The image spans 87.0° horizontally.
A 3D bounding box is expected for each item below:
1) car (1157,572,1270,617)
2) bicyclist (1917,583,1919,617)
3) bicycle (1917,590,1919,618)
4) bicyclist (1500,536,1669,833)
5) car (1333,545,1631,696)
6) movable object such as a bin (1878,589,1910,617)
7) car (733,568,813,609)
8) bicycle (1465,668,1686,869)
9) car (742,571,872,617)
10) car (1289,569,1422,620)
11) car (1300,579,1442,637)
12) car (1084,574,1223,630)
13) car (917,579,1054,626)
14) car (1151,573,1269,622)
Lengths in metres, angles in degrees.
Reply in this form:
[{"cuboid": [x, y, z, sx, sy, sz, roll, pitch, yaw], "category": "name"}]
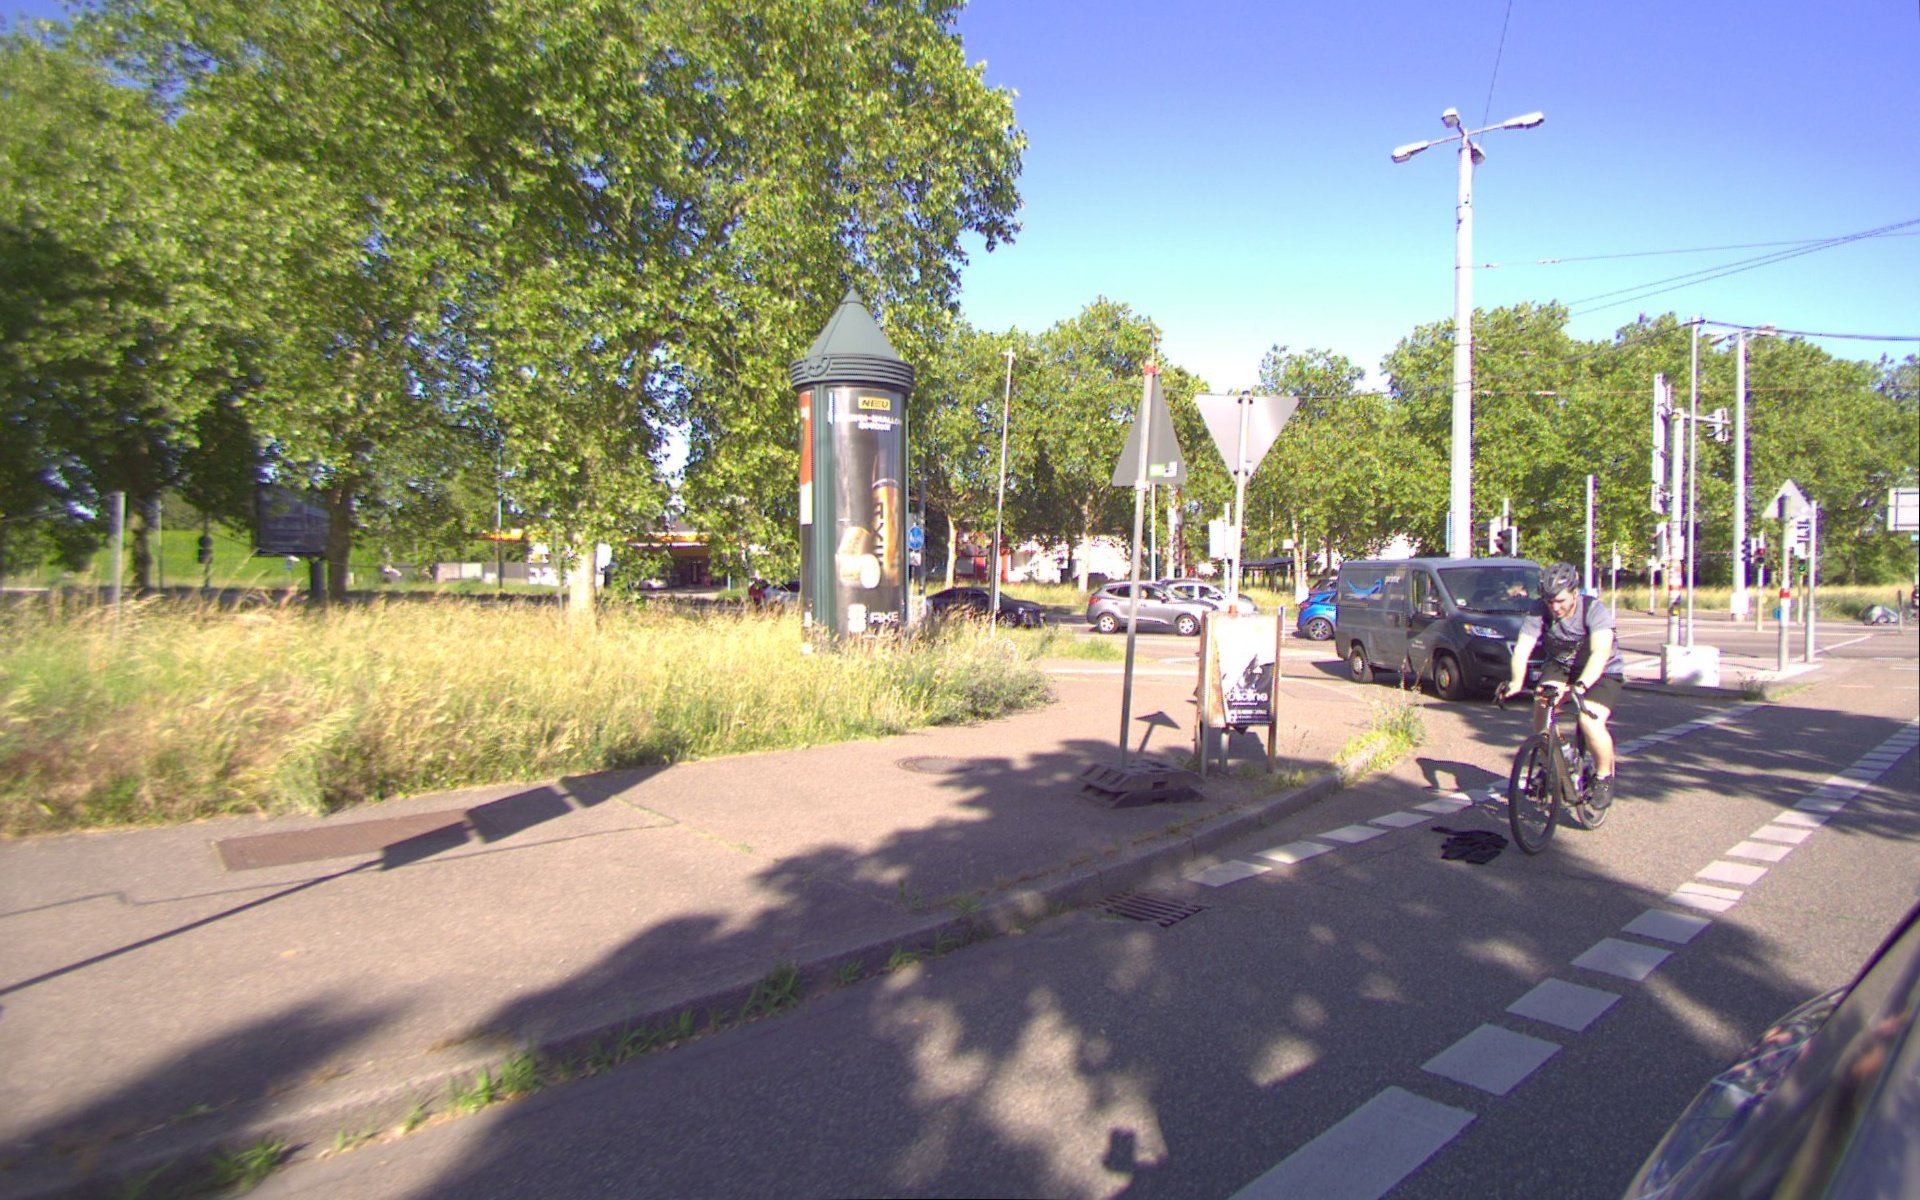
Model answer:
[{"cuboid": [9.766, -0.232, 38.976, 3.957, 1.638, 1.984, 1, 1, 24], "category": "car"}, {"cuboid": [39.457, 0.000, 41.337, 0.509, 1.357, 0.556, 2, 2, 44], "category": "bicyclist"}, {"cuboid": [39.788, 0.152, 41.699, 0.466, 1.132, 1.792, 1, 2, 43], "category": "bicycle"}, {"cuboid": [3.900, 0.464, 6.313, 0.917, 1.700, 0.616, -1, 2, -40], "category": "bicyclist"}, {"cuboid": [8.232, 0.204, 16.690, 2.089, 2.096, 5.123, 0, 2, -2], "category": "car"}, {"cuboid": [38.160, 0.108, 41.346, 0.908, 1.082, 1.297, 2, 2, 42], "category": "movable object such as a bin"}, {"cuboid": [-8.148, -0.539, 44.072, 3.173, 1.635, 1.363, 1, 5, 24], "category": "car"}, {"cuboid": [3.959, 0.989, 6.435, 2.051, 0.934, 0.525, -2, 2, -39], "category": "bicycle"}, {"cuboid": [-5.973, -0.223, 39.443, 4.724, 1.703, 1.894, 0, 2, 25], "category": "car"}, {"cuboid": [14.572, -0.246, 37.327, 4.446, 1.732, 1.906, 1, 2, 24], "category": "car"}, {"cuboid": [12.191, 0.203, 30.150, 3.815, 1.620, 1.700, 0, 1, 23], "category": "car"}, {"cuboid": [6.304, 0.021, 32.923, 4.129, 1.699, 1.920, 1, 1, 24], "category": "car"}, {"cuboid": [0.924, 0.053, 36.088, 4.519, 1.424, 1.921, 1, 5, 24], "category": "car"}, {"cuboid": [8.898, -0.124, 36.051, 3.823, 1.620, 1.697, 1, 1, 28], "category": "car"}]
